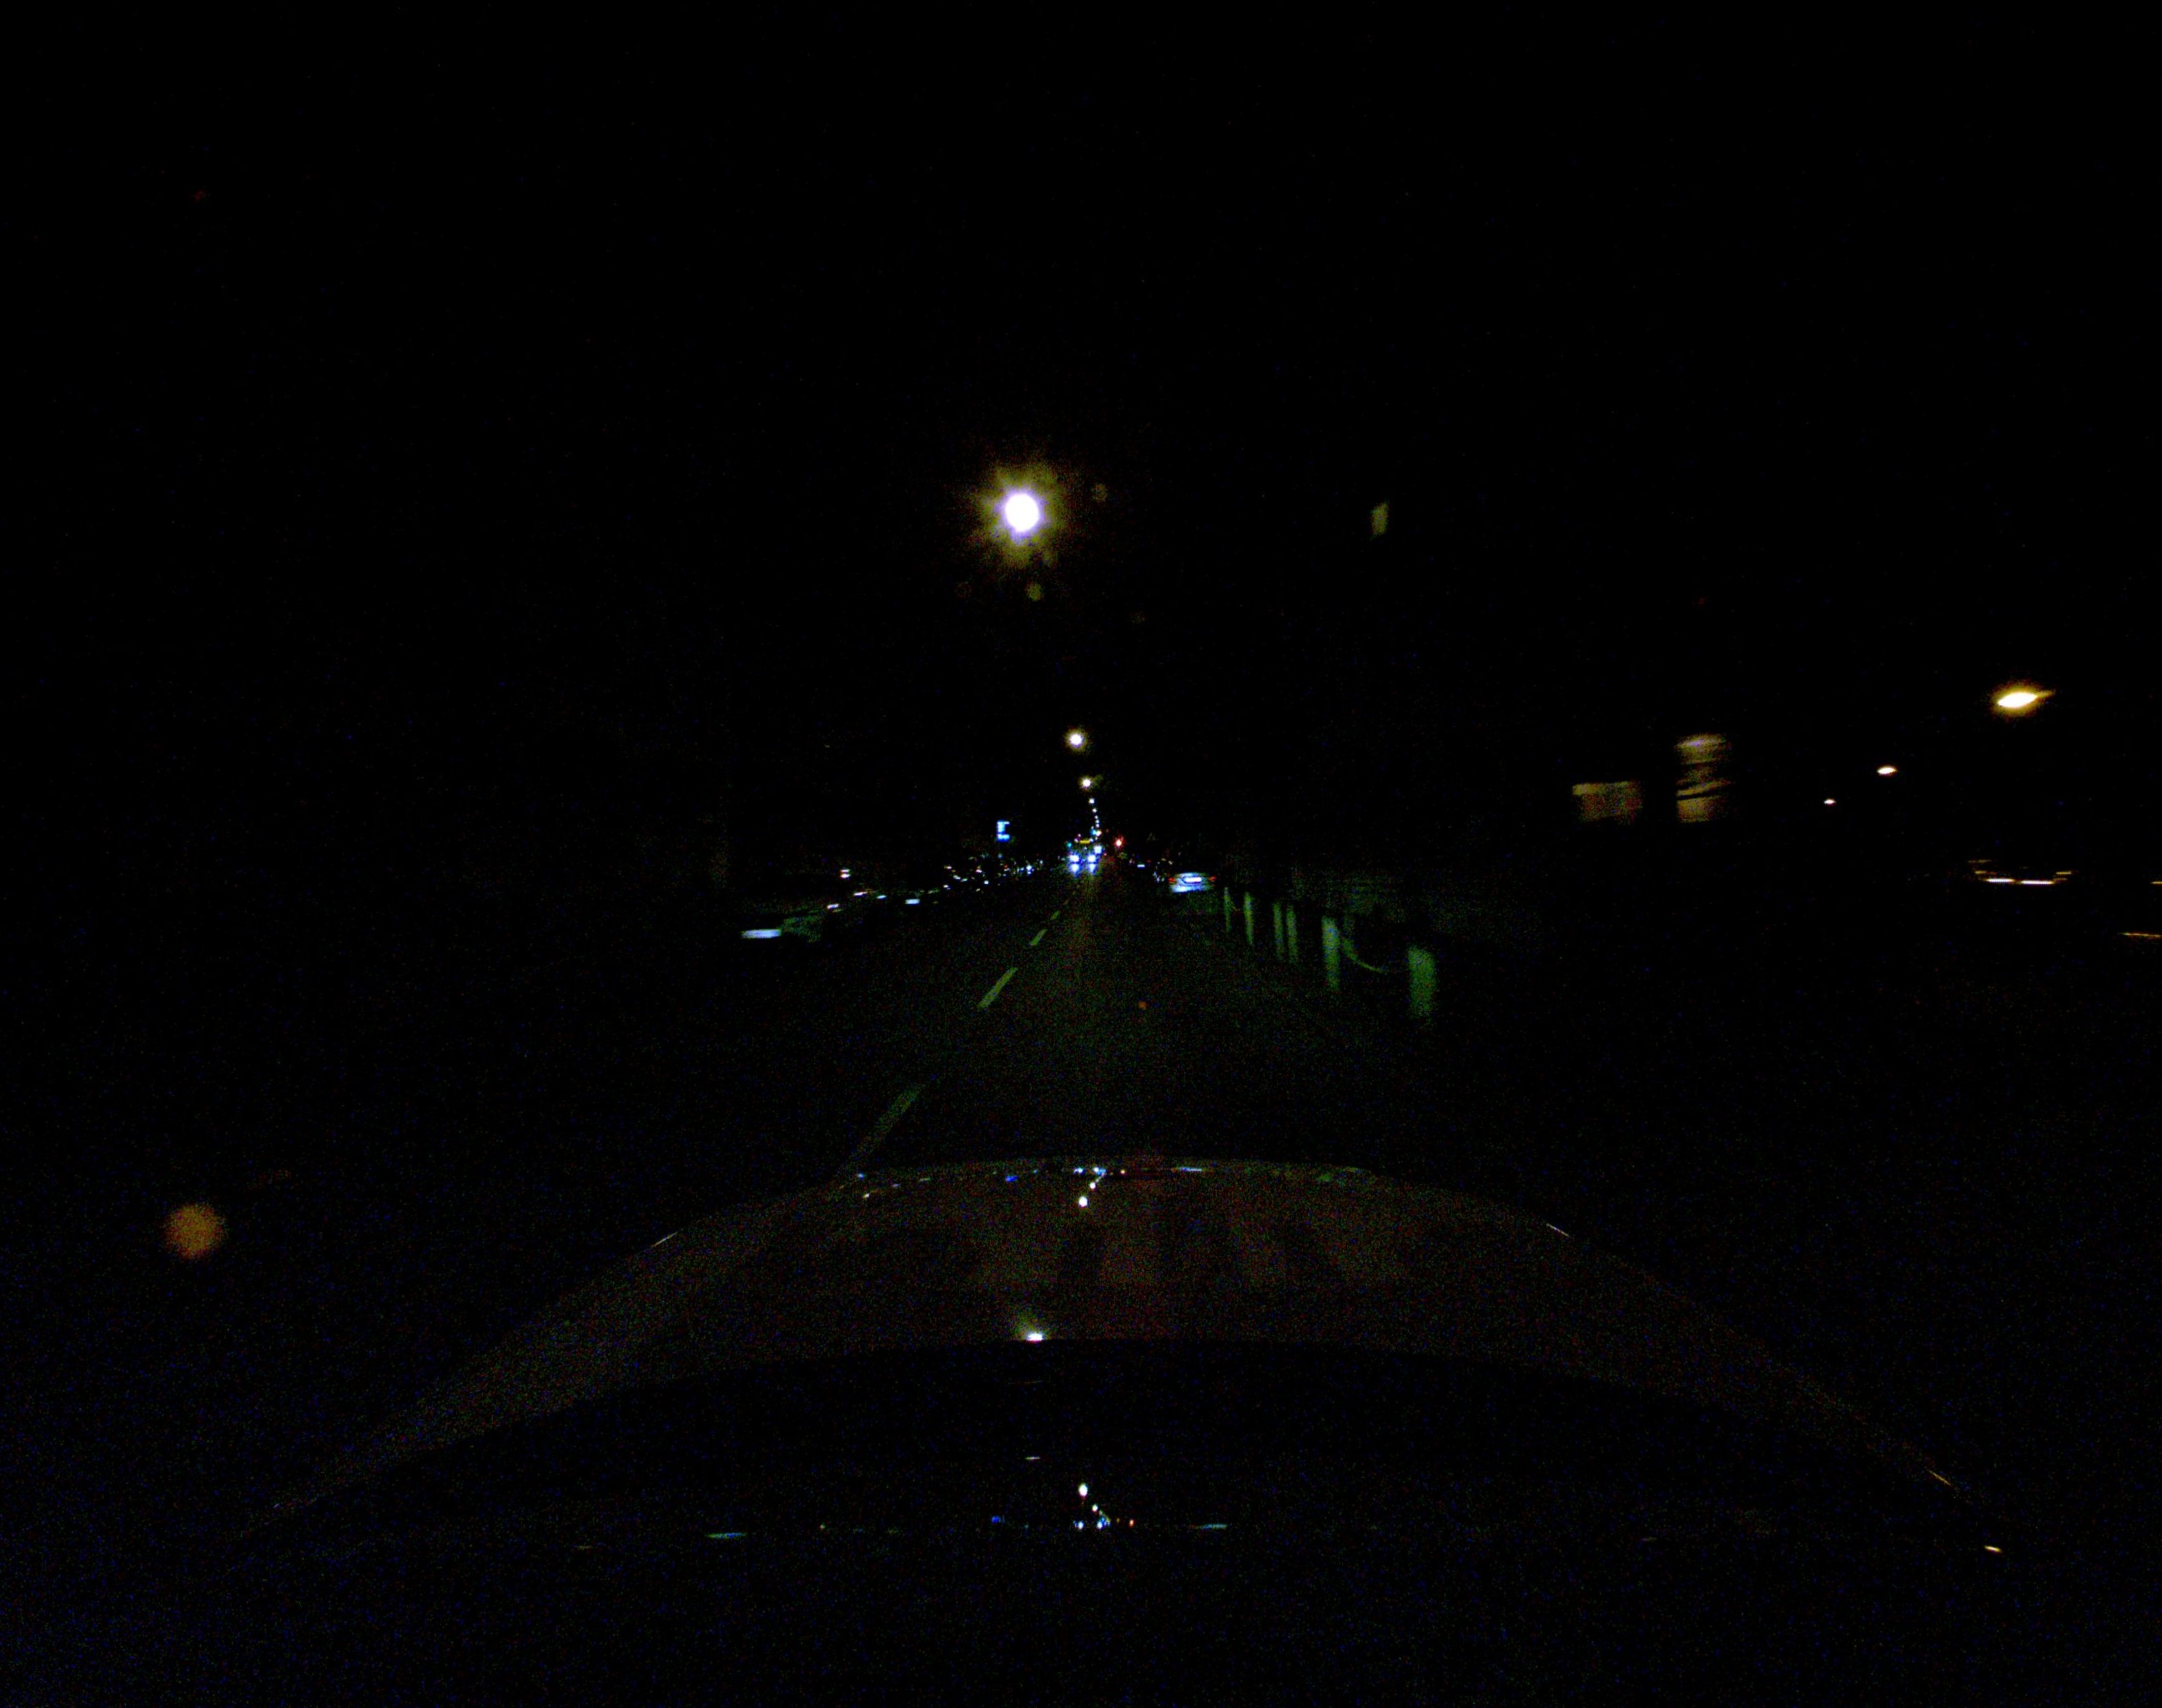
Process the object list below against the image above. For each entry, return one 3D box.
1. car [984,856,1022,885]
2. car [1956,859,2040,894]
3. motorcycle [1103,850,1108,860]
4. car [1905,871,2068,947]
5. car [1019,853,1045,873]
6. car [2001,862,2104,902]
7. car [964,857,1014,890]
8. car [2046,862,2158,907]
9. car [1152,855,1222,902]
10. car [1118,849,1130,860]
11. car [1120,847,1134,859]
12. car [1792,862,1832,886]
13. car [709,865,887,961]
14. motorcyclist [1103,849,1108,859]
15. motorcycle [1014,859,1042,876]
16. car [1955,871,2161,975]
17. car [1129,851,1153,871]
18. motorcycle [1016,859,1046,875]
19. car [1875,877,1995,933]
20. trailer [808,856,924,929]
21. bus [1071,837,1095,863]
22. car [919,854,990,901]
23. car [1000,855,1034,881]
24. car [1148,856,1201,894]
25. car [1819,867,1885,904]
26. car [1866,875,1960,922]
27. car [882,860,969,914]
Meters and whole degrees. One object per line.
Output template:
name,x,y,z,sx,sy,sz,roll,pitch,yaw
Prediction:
car,-4.173,0.884,44.058,1.616,1.491,3.781,0,-1,1
car,49.630,1.162,44.176,1.974,1.802,4.025,0,-1,33
motorcycle,4.583,0.187,153.486,0.927,1.752,2.626,0,-1,2
car,19.596,1.113,17.815,1.779,1.417,3.861,0,-1,39
car,-3.792,0.688,63.503,1.632,1.498,2.767,-1,-1,3
car,45.354,1.260,38.142,1.974,1.763,4.025,0,-1,33
car,-4.362,0.900,39.237,1.857,1.491,4.280,0,-1,1
car,41.763,1.195,33.422,1.974,1.704,4.020,0,-1,38
car,3.613,0.810,28.475,1.838,1.417,4.646,-4,-1,1
car,6.782,0.092,129.067,1.862,1.526,4.151,-2,1,2
car,6.479,-0.111,115.735,1.805,1.594,4.275,-2,1,2
car,44.907,1.213,50.032,1.752,1.441,3.943,-1,-1,42
car,-5.092,0.988,15.335,1.808,1.484,4.347,-1,0,0
motorcyclist,4.580,-0.016,153.484,0.845,1.752,0.806,0,-1,1
motorcycle,-3.686,0.940,56.037,0.719,1.147,2.183,-2,1,-41
car,15.929,1.003,13.247,1.779,1.417,3.861,0,-1,39
car,4.864,0.589,66.895,1.756,1.476,4.082,-2,1,2
motorcycle,-3.574,0.914,58.054,2.180,1.131,0.720,-1,1,34
car,23.296,1.326,22.352,1.752,1.341,3.944,0,-1,39
trailer,-5.195,0.873,20.117,1.629,1.640,3.445,0,-1,6
bus,0.320,-0.533,103.483,2.827,3.177,10.503,0,0,2
car,-4.723,0.838,30.922,1.828,1.619,4.547,0,0,2
car,-4.043,0.846,51.799,1.698,1.491,4.228,-2,0,1
car,3.806,0.824,33.776,1.764,1.448,4.020,-1,0,1
car,33.678,1.331,35.660,1.752,1.501,3.944,0,-1,39
car,28.028,1.446,27.549,1.752,1.417,3.944,0,-1,39
car,-4.800,0.971,25.751,1.829,1.446,4.545,-1,0,0
